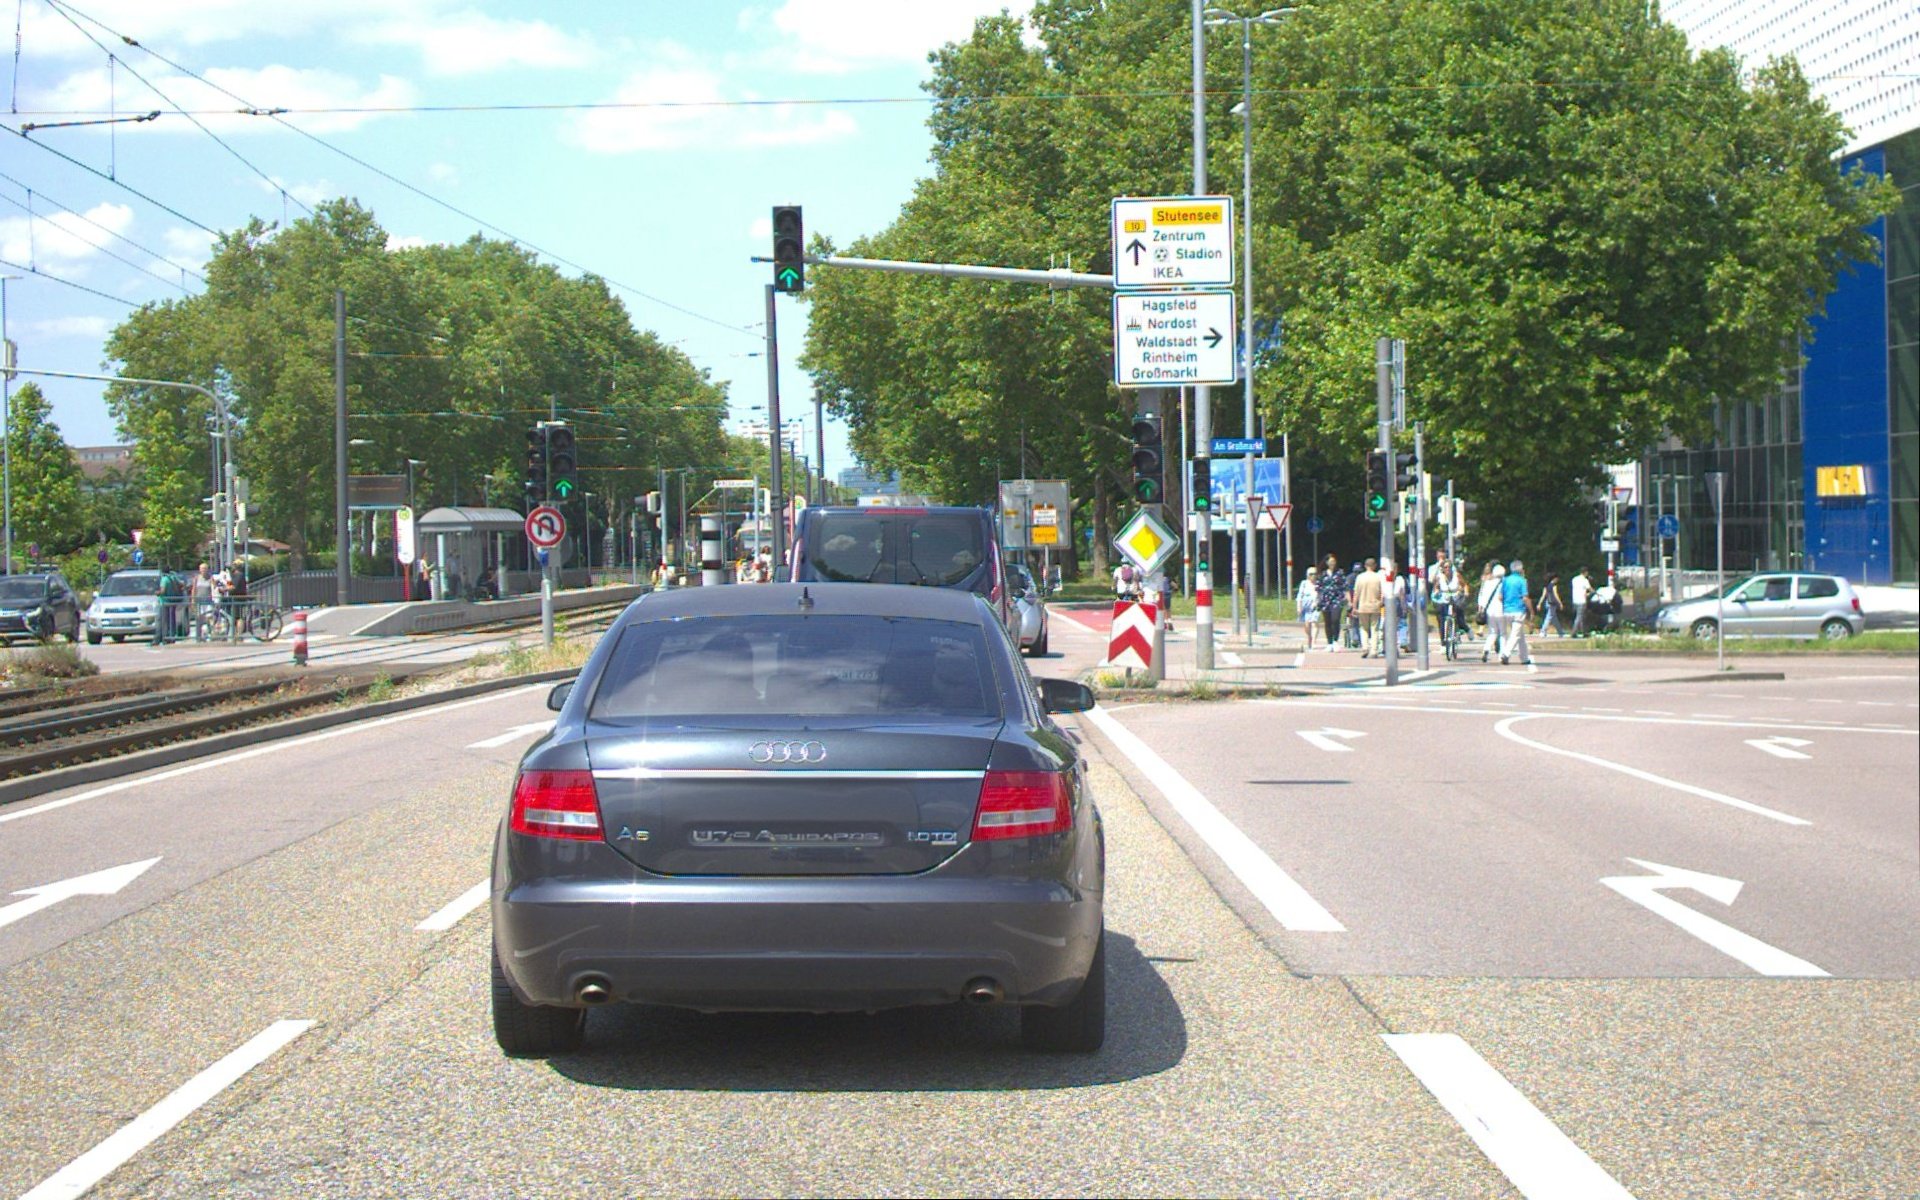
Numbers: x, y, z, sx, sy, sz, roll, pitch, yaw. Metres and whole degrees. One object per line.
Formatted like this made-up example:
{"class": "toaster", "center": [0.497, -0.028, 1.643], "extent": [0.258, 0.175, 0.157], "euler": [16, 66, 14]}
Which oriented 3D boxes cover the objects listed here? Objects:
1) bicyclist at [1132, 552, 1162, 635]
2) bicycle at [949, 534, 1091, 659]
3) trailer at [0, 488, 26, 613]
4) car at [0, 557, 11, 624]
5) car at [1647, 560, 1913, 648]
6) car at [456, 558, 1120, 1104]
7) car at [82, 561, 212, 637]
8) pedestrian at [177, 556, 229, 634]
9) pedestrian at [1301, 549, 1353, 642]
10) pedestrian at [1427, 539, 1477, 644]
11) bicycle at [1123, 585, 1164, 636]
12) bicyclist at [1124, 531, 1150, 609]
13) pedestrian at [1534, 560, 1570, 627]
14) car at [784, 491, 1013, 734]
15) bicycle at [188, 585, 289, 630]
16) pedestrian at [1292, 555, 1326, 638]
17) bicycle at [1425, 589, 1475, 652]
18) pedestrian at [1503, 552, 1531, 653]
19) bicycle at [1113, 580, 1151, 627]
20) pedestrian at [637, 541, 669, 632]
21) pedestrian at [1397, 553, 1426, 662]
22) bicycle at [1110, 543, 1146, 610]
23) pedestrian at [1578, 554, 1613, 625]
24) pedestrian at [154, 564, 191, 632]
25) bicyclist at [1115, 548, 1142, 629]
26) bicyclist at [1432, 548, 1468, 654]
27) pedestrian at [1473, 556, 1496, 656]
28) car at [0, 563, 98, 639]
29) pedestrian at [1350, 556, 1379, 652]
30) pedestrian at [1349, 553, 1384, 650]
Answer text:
{"class": "bicyclist", "center": [3.806, -0.135, 70.023], "extent": [0.528, 1.670, 1.088], "euler": [0, 0, 0]}
{"class": "bicycle", "center": [1.043, -0.080, 57.684], "extent": [1.994, 2.007, 3.999], "euler": [1, 1, 6]}
{"class": "trailer", "center": [-28.261, -1.326, 91.313], "extent": [2.767, 3.506, 15.879], "euler": [0, 1, -1]}
{"class": "car", "center": [-24.902, -0.220, 84.484], "extent": [1.822, 1.664, 4.461], "euler": [1, 1, 1]}
{"class": "car", "center": [15.246, 0.061, 64.081], "extent": [4.498, 1.481, 2.000], "euler": [2, 1, 3]}
{"class": "car", "center": [-0.479, 0.604, 11.328], "extent": [1.792, 1.450, 4.000], "euler": [0, 1, 0]}
{"class": "car", "center": [-18.916, -0.050, 80.183], "extent": [1.822, 1.664, 4.461], "euler": [1, 1, 2]}
{"class": "pedestrian", "center": [-16.753, -0.115, 76.058], "extent": [0.824, 1.714, 0.774], "euler": [1, 0, 22]}
{"class": "pedestrian", "center": [6.514, -0.083, 61.034], "extent": [0.714, 1.629, 0.706], "euler": [1, 1, 25]}
{"class": "pedestrian", "center": [8.683, -0.160, 60.702], "extent": [0.685, 1.840, 0.706], "euler": [1, 1, 25]}
{"class": "bicycle", "center": [3.725, 0.206, 70.040], "extent": [0.688, 1.002, 2.751], "euler": [0, 1, 0]}
{"class": "bicyclist", "center": [4.085, -0.687, 79.209], "extent": [0.528, 1.783, 1.088], "euler": [0, 0, 0]}
{"class": "pedestrian", "center": [13.805, -0.161, 80.191], "extent": [0.705, 1.539, 0.677], "euler": [1, 1, 19]}
{"class": "car", "center": [-0.518, 0.084, 29.559], "extent": [1.836, 1.943, 4.000], "euler": [0, 0, -1]}
{"class": "bicycle", "center": [-15.192, 0.151, 72.402], "extent": [2.055, 0.922, 0.753], "euler": [0, 1, -10]}
{"class": "pedestrian", "center": [6.488, -0.070, 63.896], "extent": [0.494, 1.514, 0.706], "euler": [1, 1, 17]}
{"class": "bicycle", "center": [8.259, 0.333, 57.882], "extent": [0.660, 1.018, 1.860], "euler": [1, 1, 13]}
{"class": "pedestrian", "center": [9.058, 0.032, 55.885], "extent": [0.398, 1.629, 0.371], "euler": [1, 1, 3]}
{"class": "bicycle", "center": [3.784, 0.074, 75.616], "extent": [0.688, 0.990, 2.751], "euler": [0, 1, 0]}
{"class": "pedestrian", "center": [-6.780, -0.298, 75.954], "extent": [0.685, 2.007, 0.573], "euler": [0, 0, -4]}
{"class": "pedestrian", "center": [6.753, 0.113, 51.438], "extent": [0.381, 1.629, 0.377], "euler": [1, 1, 3]}
{"class": "bicycle", "center": [3.879, -0.549, 79.574], "extent": [0.688, 1.514, 2.751], "euler": [0, 1, 0]}
{"class": "pedestrian", "center": [14.757, -0.244, 79.870], "extent": [0.705, 1.629, 0.611], "euler": [1, 1, 19]}
{"class": "pedestrian", "center": [-16.773, -0.041, 73.246], "extent": [0.685, 1.438, 0.573], "euler": [0, 0, -4]}
{"class": "bicyclist", "center": [3.734, -0.257, 76.283], "extent": [0.528, 1.783, 1.088], "euler": [0, 0, 0]}
{"class": "bicyclist", "center": [8.232, 0.010, 57.767], "extent": [0.529, 1.758, 0.827], "euler": [0, 0, 13]}
{"class": "pedestrian", "center": [8.579, 0.092, 56.260], "extent": [0.320, 1.629, 0.377], "euler": [1, 1, 3]}
{"class": "car", "center": [-21.683, -0.002, 80.253], "extent": [1.822, 1.664, 4.461], "euler": [1, 1, 2]}
{"class": "pedestrian", "center": [6.872, 0.069, 58.409], "extent": [0.445, 1.629, 0.430], "euler": [1, 1, 3]}
{"class": "pedestrian", "center": [6.900, 0.025, 58.387], "extent": [0.554, 1.629, 0.433], "euler": [1, 1, 3]}
